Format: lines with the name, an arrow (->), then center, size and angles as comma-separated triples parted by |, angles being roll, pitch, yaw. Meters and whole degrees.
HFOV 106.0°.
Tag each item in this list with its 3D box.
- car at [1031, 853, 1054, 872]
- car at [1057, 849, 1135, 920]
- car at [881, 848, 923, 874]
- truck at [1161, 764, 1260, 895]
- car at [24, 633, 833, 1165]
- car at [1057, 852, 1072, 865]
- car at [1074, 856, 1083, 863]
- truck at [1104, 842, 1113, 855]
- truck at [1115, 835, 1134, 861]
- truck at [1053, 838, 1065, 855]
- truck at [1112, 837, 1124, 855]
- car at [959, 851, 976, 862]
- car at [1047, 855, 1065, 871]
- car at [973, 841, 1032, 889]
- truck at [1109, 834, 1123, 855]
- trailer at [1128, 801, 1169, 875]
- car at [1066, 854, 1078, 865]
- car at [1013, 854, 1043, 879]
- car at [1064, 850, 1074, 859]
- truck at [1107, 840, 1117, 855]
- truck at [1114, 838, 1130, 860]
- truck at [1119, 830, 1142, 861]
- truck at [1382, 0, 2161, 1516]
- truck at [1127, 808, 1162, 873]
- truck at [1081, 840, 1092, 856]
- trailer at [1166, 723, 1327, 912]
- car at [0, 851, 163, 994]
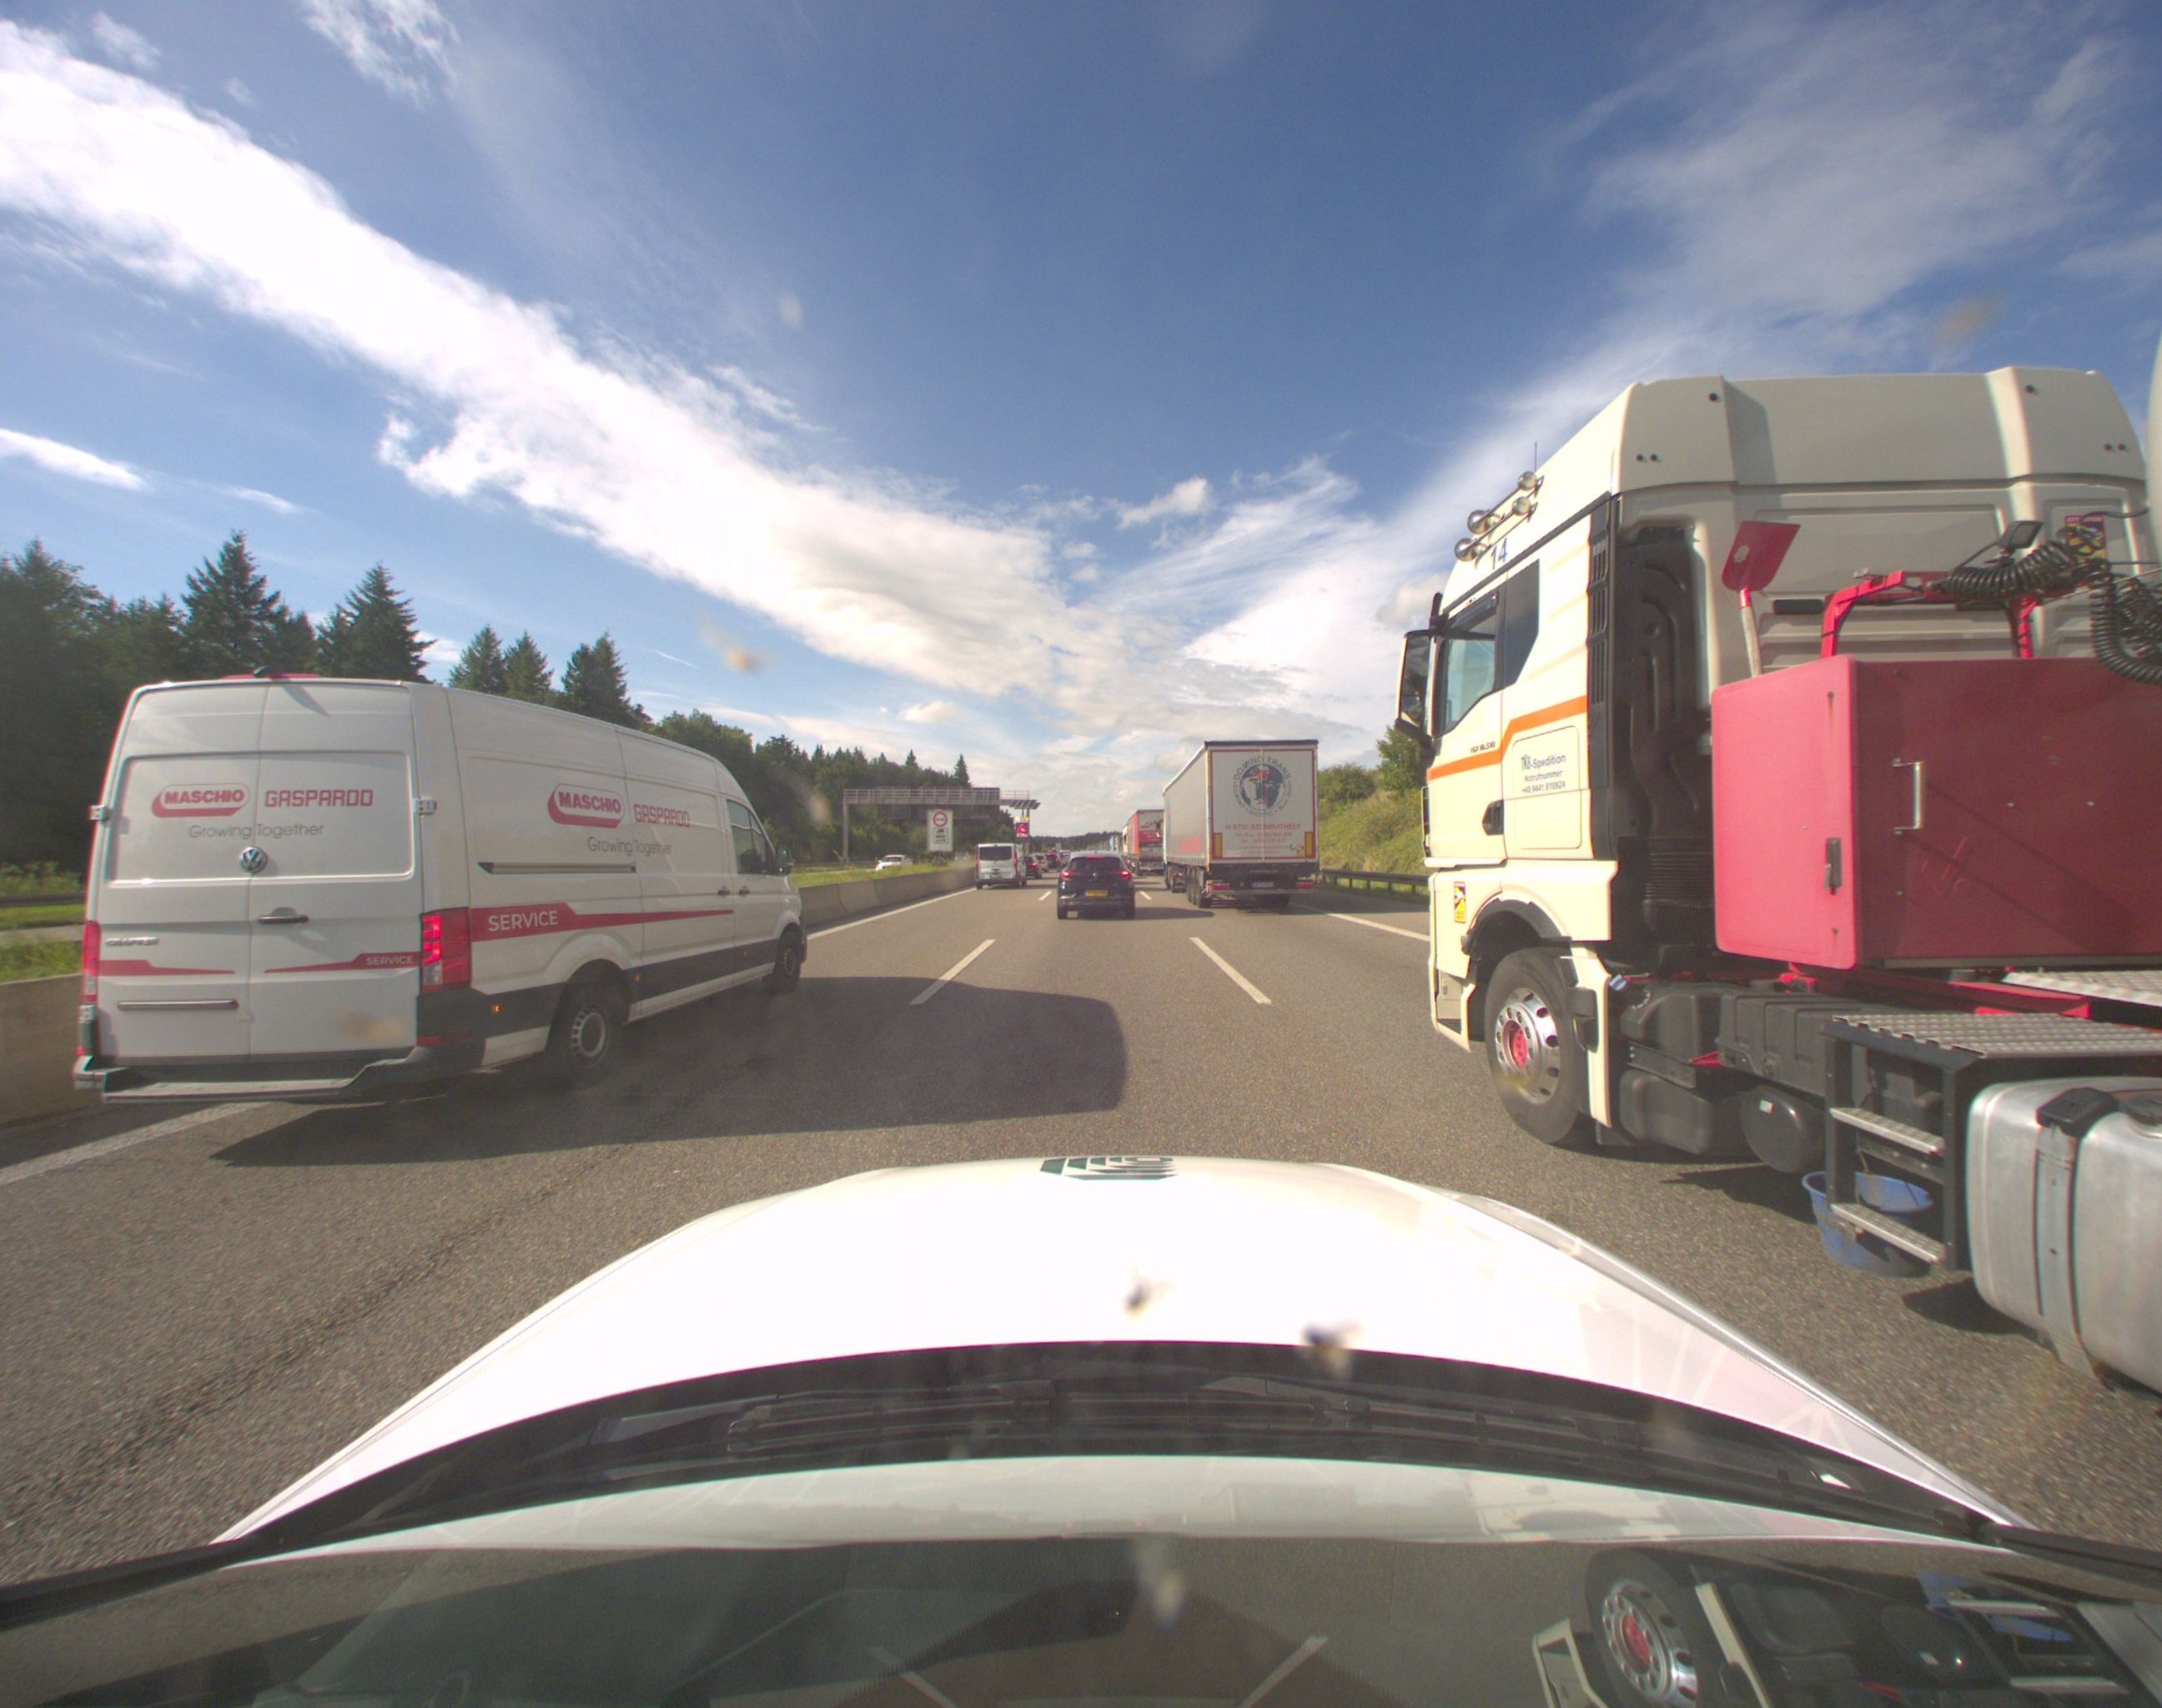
car -> -3.032, 0.690, 64.371 | 1.495, 1.396, 3.476 | 2, 0, 1
car -> 0.449, 0.656, 19.993 | 1.689, 1.482, 4.164 | 0, 1, 3
car -> -12.484, 0.456, 57.037 | 1.881, 1.684, 4.002 | 2, 0, 2
truck -> 4.560, -0.789, 29.968 | 2.775, 4.247, 6.463 | -1, 0, 2
car -> -4.187, 0.231, 7.134 | 2.008, 2.599, 6.182 | -1, 0, 1
car -> -1.719, 0.518, 87.828 | 1.430, 1.310, 3.534 | 2, 0, 1
car -> -0.427, 0.891, 133.105 | 1.356, 1.159, 3.085 | -1, 0, 1
truck -> 6.568, -1.395, 196.621 | 1.986, 3.052, 4.983 | 2, 0, 2
truck -> 5.207, -0.728, 97.623 | 1.986, 2.932, 4.983 | 2, 0, 2
truck -> -4.836, -1.668, 180.644 | 2.335, 3.594, 6.307 | 2, 0, 1
truck -> 6.649, -1.379, 147.294 | 1.986, 3.052, 4.983 | 2, 0, 2
car -> -18.013, 0.382, 129.164 | 1.881, 1.684, 4.002 | 2, 0, 2
car -> -2.224, 0.806, 72.982 | 1.430, 1.310, 3.534 | 2, 0, 1
car -> -3.484, 0.470, 37.067 | 1.925, 1.979, 5.101 | 2, 0, 2
truck -> 5.335, -1.485, 124.390 | 1.986, 3.052, 4.983 | 2, 0, 2
trailer -> 4.198, -0.916, 51.806 | 2.141, 4.259, 8.443 | -1, 0, 2
car -> -1.142, 0.675, 102.861 | 1.356, 1.301, 3.085 | 2, 0, 1
car -> -3.128, 0.719, 48.386 | 1.494, 1.396, 3.476 | -1, 0, 1
car -> -1.641, 0.083, 112.665 | 1.356, 1.238, 3.085 | 0, 0, 1
truck -> 6.520, -1.331, 171.115 | 1.986, 3.052, 4.983 | 2, 0, 2
truck -> 5.659, -0.678, 111.558 | 1.986, 2.932, 4.983 | 2, 0, 2
truck -> 4.918, -0.776, 81.472 | 1.986, 2.932, 4.983 | 2, 0, 2
truck -> 3.470, -0.456, 2.742 | 2.524, 3.584, 6.731 | -1, 0, 1
truck -> 4.357, -0.892, 56.744 | 2.126, 4.282, 6.341 | 0, 0, 2
truck -> 1.357, -1.379, 194.445 | 2.335, 3.594, 6.307 | 2, 0, 1
trailer -> 4.336, -0.812, 24.023 | 2.792, 4.244, 11.062 | -1, 0, 2
car -> -15.060, 0.891, 10.273 | 1.940, 1.798, 4.272 | 2, 0, 2
